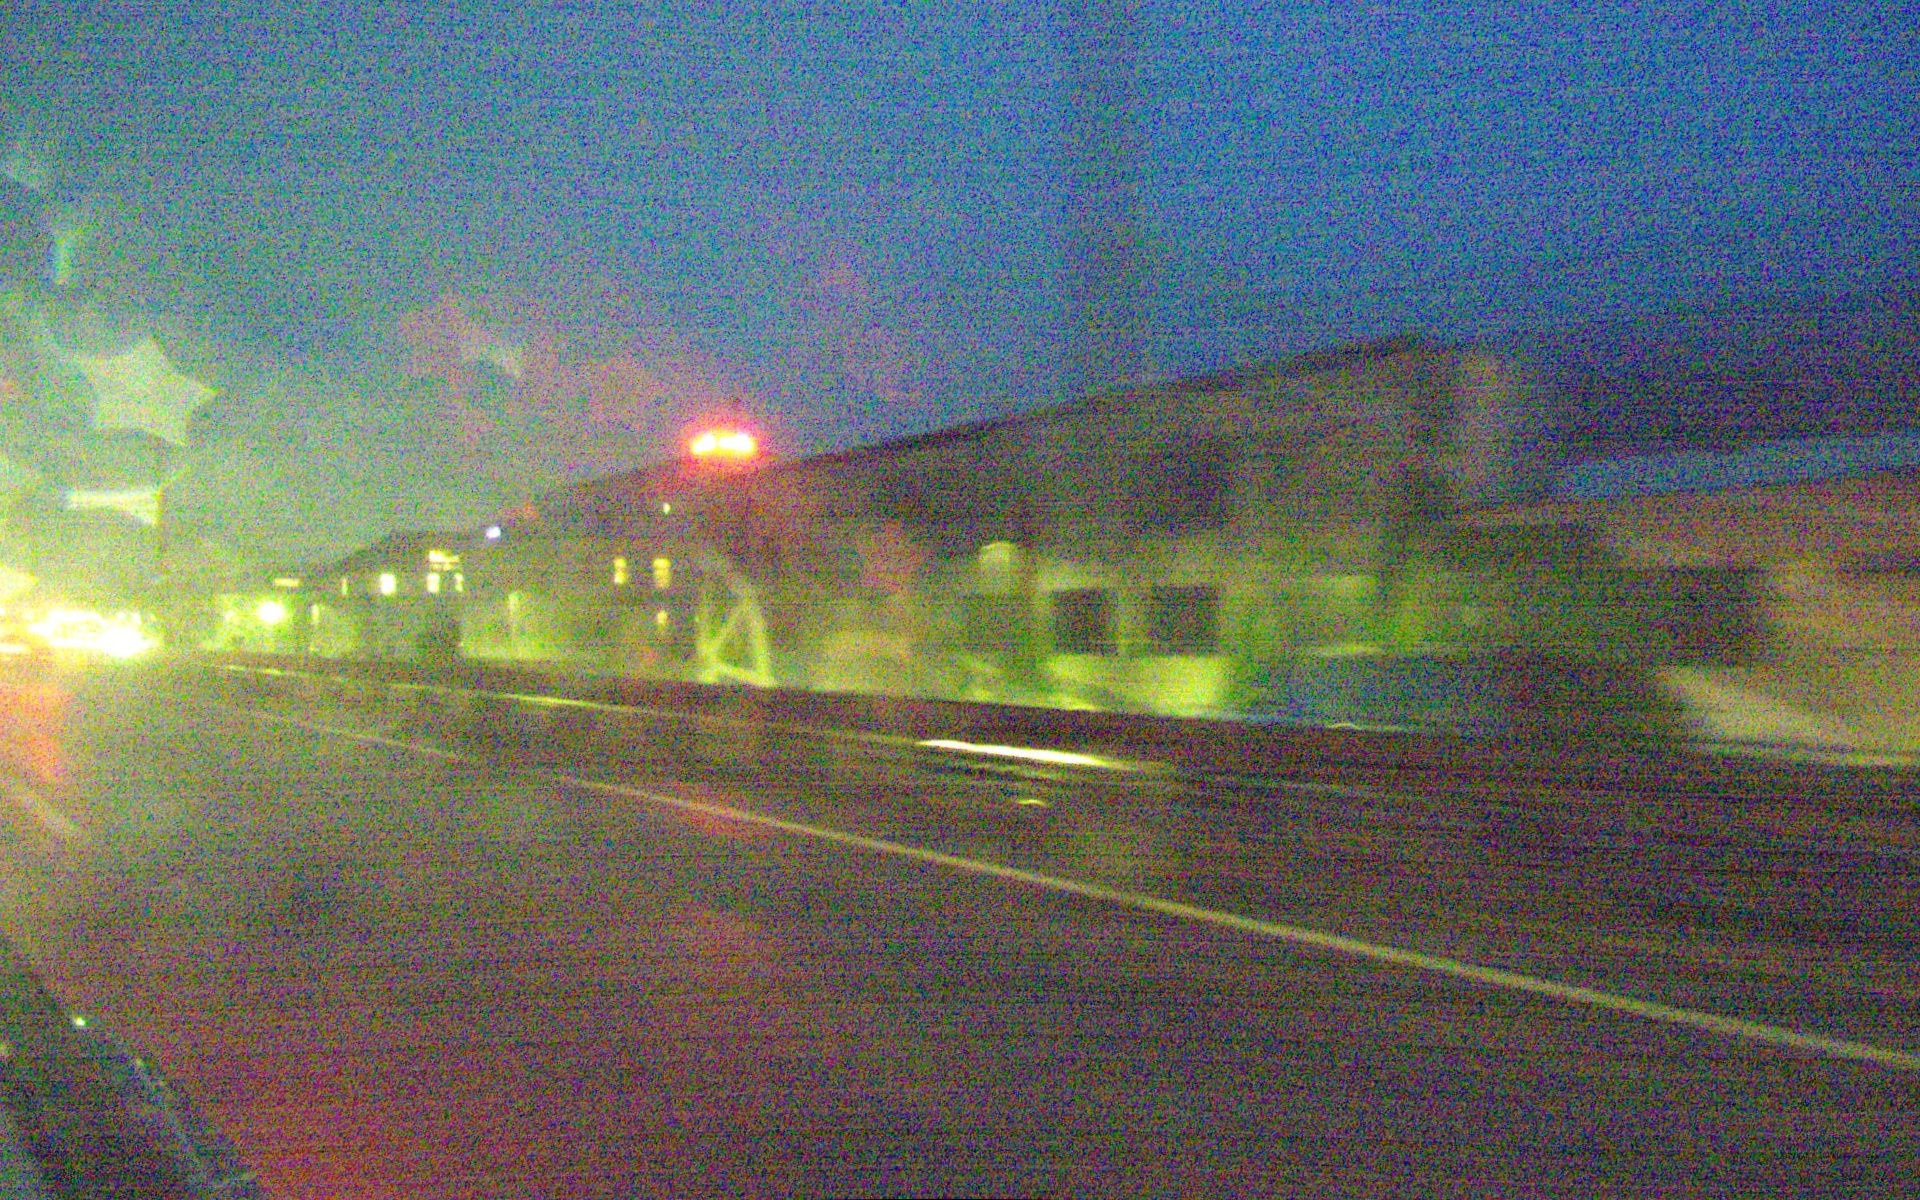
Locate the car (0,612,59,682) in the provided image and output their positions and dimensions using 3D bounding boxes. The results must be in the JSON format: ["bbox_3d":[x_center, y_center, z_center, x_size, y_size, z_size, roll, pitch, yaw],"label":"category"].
[{"bbox_3d":[-24.037,1.139,25.311,3.727,1.630,1.808,-1,0,41],"label":"car"}]

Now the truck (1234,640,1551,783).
[{"bbox_3d":[12.404,3.004,29.764,2.724,3.509,8.110,0,-1,-44],"label":"truck"}]
